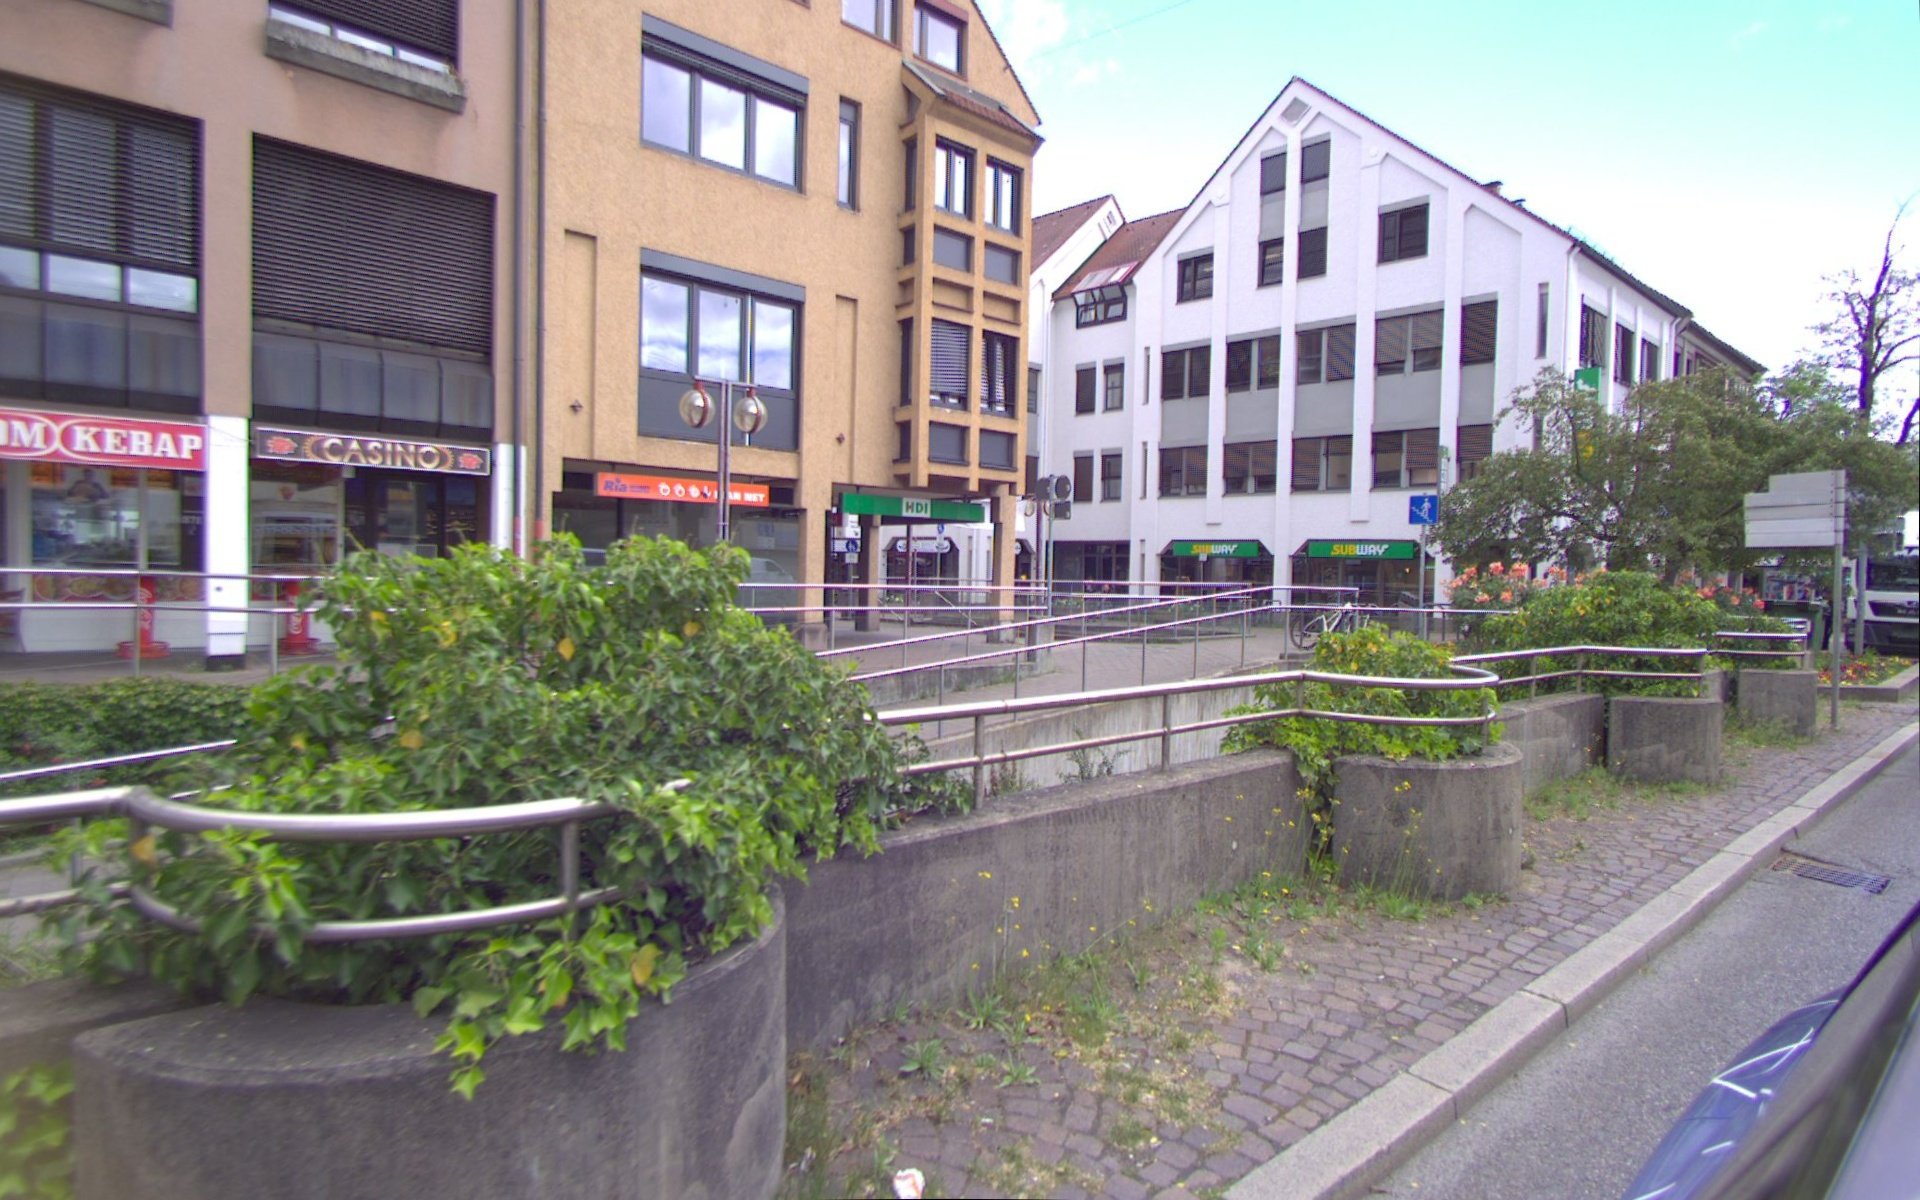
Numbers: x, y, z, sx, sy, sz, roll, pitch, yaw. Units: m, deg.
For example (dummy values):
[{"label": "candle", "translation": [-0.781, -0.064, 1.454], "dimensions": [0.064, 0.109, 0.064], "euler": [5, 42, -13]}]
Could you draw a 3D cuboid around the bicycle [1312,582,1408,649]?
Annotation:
[{"label": "bicycle", "translation": [8.142, 0.285, 20.655], "dimensions": [0.658, 1.274, 1.676], "euler": [1, 2, -44]}]

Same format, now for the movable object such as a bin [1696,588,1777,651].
[{"label": "movable object such as a bin", "translation": [17.620, 0.422, 22.962], "dimensions": [1.351, 1.356, 1.146], "euler": [0, 2, -39]}]

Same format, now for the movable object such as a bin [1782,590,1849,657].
[{"label": "movable object such as a bin", "translation": [18.384, 0.492, 21.738], "dimensions": [1.066, 1.356, 0.884], "euler": [0, 2, -39]}]

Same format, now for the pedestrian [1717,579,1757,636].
[{"label": "pedestrian", "translation": [22.721, 0.198, 29.610], "dimensions": [0.737, 1.622, 0.570], "euler": [2, 1, 21]}]

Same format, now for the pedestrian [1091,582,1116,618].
[{"label": "pedestrian", "translation": [4.911, -0.011, 34.600], "dimensions": [0.504, 1.215, 0.619], "euler": [0, 1, -43]}]

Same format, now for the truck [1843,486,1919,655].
[{"label": "truck", "translation": [24.220, -0.610, 24.731], "dimensions": [9.597, 3.605, 2.693], "euler": [0, 2, -42]}]

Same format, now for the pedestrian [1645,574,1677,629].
[{"label": "pedestrian", "translation": [21.069, 0.032, 30.402], "dimensions": [0.732, 1.622, 0.573], "euler": [1, 1, -40]}]

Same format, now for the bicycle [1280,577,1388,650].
[{"label": "bicycle", "translation": [7.426, 0.245, 20.139], "dimensions": [0.829, 1.343, 1.818], "euler": [0, 2, -44]}]

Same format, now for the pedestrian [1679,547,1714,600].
[{"label": "pedestrian", "translation": [22.749, -0.813, 31.256], "dimensions": [0.564, 1.622, 0.744], "euler": [0, 1, -44]}]

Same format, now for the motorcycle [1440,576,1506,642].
[{"label": "motorcycle", "translation": [11.900, 0.192, 23.439], "dimensions": [1.913, 1.456, 0.721], "euler": [0, 1, -43]}]

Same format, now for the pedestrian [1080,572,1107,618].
[{"label": "pedestrian", "translation": [4.388, -0.171, 33.353], "dimensions": [0.609, 1.494, 0.607], "euler": [1, 1, -42]}]
